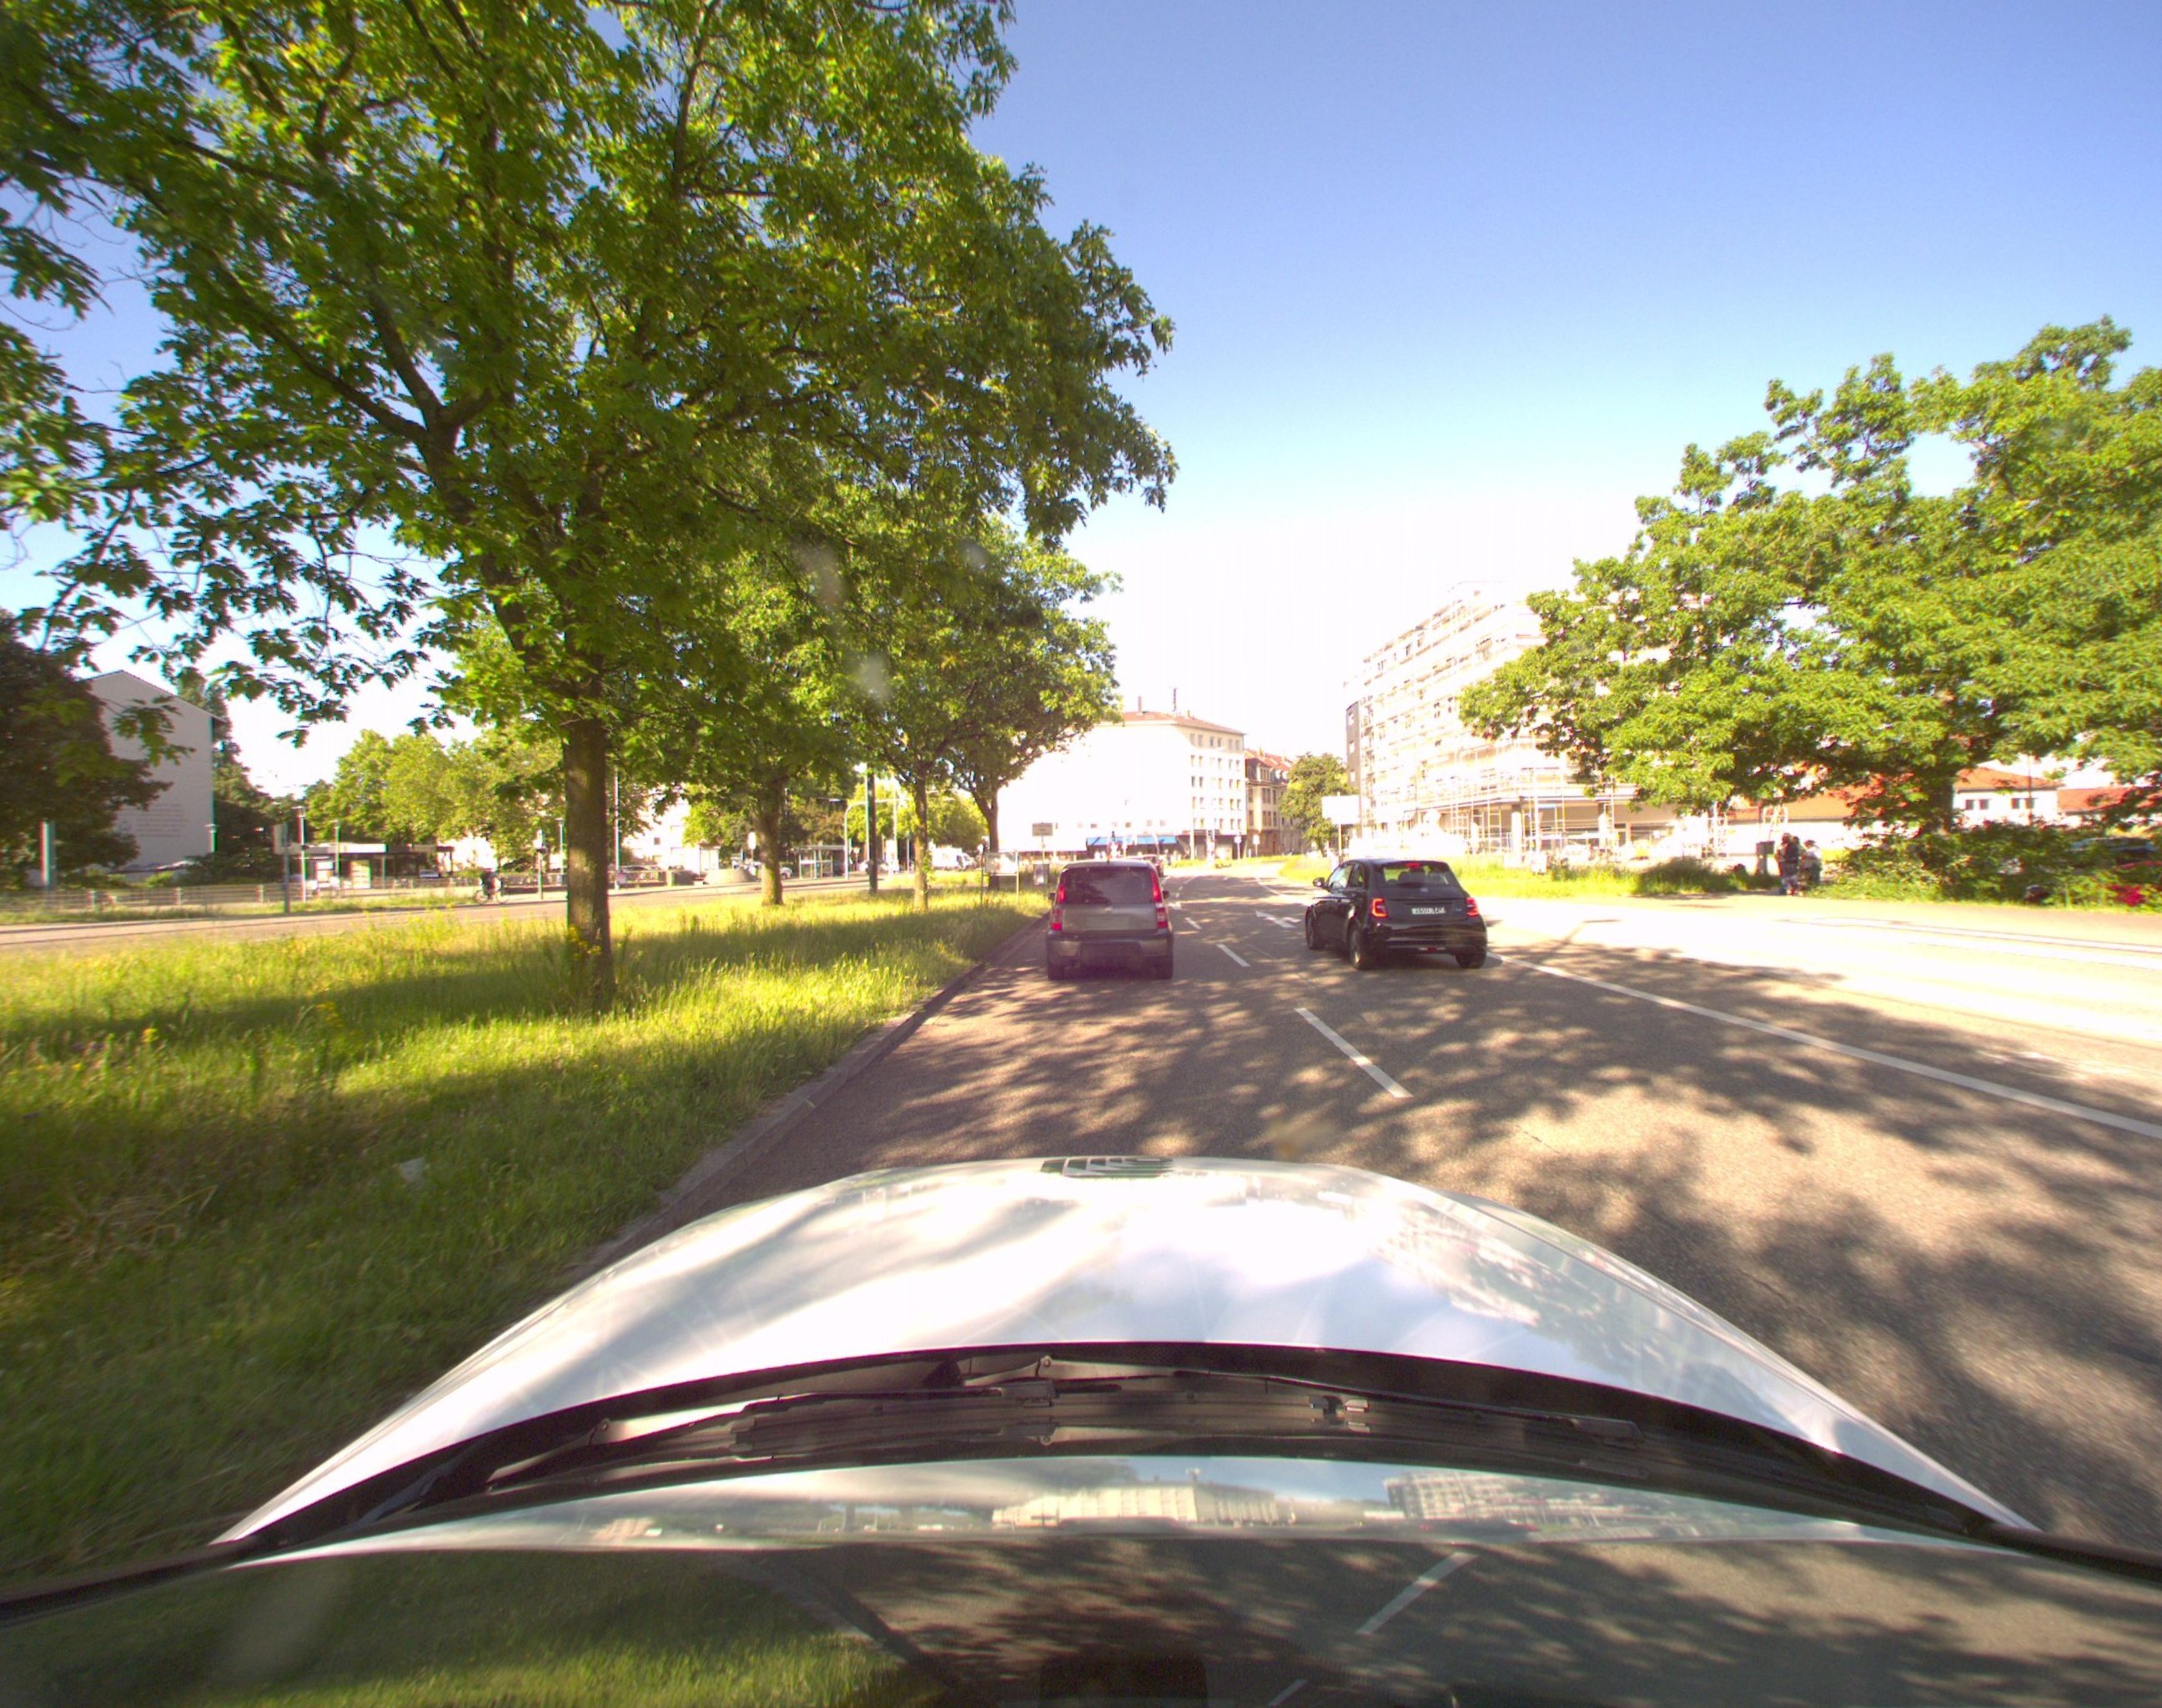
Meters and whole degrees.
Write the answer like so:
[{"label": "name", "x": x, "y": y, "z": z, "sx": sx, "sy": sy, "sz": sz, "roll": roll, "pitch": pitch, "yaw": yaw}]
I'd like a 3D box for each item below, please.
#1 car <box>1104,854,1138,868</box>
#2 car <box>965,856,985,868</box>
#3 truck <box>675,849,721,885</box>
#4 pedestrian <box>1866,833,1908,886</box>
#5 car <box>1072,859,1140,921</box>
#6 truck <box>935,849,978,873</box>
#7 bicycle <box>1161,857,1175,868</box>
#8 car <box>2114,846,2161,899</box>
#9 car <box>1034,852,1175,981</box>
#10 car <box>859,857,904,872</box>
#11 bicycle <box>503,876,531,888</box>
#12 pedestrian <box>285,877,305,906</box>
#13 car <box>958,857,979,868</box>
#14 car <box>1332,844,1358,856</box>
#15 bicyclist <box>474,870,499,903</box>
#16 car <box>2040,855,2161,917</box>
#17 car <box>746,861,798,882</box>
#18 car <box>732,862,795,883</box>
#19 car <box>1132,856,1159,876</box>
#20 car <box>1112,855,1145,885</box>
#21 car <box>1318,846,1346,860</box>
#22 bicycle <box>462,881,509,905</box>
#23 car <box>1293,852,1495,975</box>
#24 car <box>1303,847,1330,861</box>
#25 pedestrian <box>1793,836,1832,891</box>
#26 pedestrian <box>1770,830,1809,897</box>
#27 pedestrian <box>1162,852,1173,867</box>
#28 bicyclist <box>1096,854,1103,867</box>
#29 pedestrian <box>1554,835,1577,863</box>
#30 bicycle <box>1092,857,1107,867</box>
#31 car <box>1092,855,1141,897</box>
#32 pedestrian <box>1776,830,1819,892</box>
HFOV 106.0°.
[{"label": "car", "x": 3.826, "y": 0.654, "z": 78.143, "sx": 1.999, "sy": 1.243, "sz": 3.976, "roll": -1, "pitch": 0, "yaw": -18}, {"label": "car", "x": -14.722, "y": 1.099, "z": 113.157, "sx": 1.928, "sy": 1.512, "sz": 3.943, "roll": -1, "pitch": 0, "yaw": 3}, {"label": "truck", "x": -33.416, "y": 1.078, "z": 71.021, "sx": 4.768, "sy": 2.994, "sz": 2.012, "roll": -1, "pitch": 1, "yaw": 44}, {"label": "pedestrian", "x": 24.683, "y": 0.174, "z": 24.955, "sx": 0.701, "sy": 1.620, "sz": 0.566, "roll": 0, "pitch": -1, "yaw": -4}, {"label": "car", "x": 0.668, "y": 0.887, "z": 21.488, "sx": 1.615, "sy": 1.429, "sz": 3.690, "roll": -2, "pitch": 0, "yaw": 2}, {"label": "truck", "x": -13.041, "y": 0.733, "z": 85.255, "sx": 4.061, "sy": 2.427, "sz": 1.803, "roll": -1, "pitch": 0, "yaw": 21}, {"label": "bicycle", "x": 8.229, "y": 0.806, "z": 77.368, "sx": 0.783, "sy": 0.951, "sz": 1.849, "roll": 0, "pitch": -1, "yaw": -11}, {"label": "car", "x": 33.564, "y": 0.556, "z": 23.754, "sx": 1.984, "sy": 1.607, "sz": 4.006, "roll": 0, "pitch": -1, "yaw": 5}, {"label": "car", "x": 0.383, "y": 0.744, "z": 11.372, "sx": 1.653, "sy": 1.510, "sz": 3.254, "roll": -1, "pitch": 0, "yaw": 3}, {"label": "car", "x": -21.284, "y": 1.090, "z": 86.969, "sx": 4.375, "sy": 1.448, "sz": 1.667, "roll": -1, "pitch": 0, "yaw": -2}, {"label": "bicycle", "x": -43.161, "y": 2.156, "z": 62.295, "sx": 1.695, "sy": 0.839, "sz": 0.541, "roll": -1, "pitch": 0, "yaw": -41}, {"label": "pedestrian", "x": -50.146, "y": 2.398, "z": 51.962, "sx": 0.553, "sy": 1.829, "sz": 0.731, "roll": -1, "pitch": 0, "yaw": 23}, {"label": "car", "x": -14.480, "y": 1.123, "z": 105.192, "sx": 1.986, "sy": 1.310, "sz": 4.002, "roll": -2, "pitch": 0, "yaw": 2}, {"label": "car", "x": 37.854, "y": -0.520, "z": 116.798, "sx": 1.905, "sy": 1.594, "sz": 3.985, "roll": -2, "pitch": 0, "yaw": -11}, {"label": "bicyclist", "x": -28.073, "y": 1.539, "z": 38.464, "sx": 0.607, "sy": 1.530, "sz": 0.680, "roll": 0, "pitch": 1, "yaw": 22}, {"label": "car", "x": 21.766, "y": 0.625, "z": 15.944, "sx": 1.392, "sy": 1.154, "sz": 3.912, "roll": -1, "pitch": 0, "yaw": 1}, {"label": "car", "x": -27.035, "y": 1.487, "z": 71.294, "sx": 4.011, "sy": 1.717, "sz": 1.747, "roll": 0, "pitch": 2, "yaw": -30}, {"label": "car", "x": -26.619, "y": 1.510, "z": 68.353, "sx": 1.849, "sy": 1.544, "sz": 4.576, "roll": 2, "pitch": 2, "yaw": 45}, {"label": "car", "x": 4.303, "y": 0.807, "z": 54.077, "sx": 1.682, "sy": 1.253, "sz": 3.631, "roll": -1, "pitch": -1, "yaw": 5}, {"label": "car", "x": 2.531, "y": 0.816, "z": 42.913, "sx": 1.639, "sy": 1.438, "sz": 3.399, "roll": -1, "pitch": 0, "yaw": 3}, {"label": "car", "x": 27.884, "y": -0.122, "z": 90.509, "sx": 1.802, "sy": 1.508, "sz": 4.026, "roll": -2, "pitch": 0, "yaw": 35}, {"label": "bicycle", "x": -28.081, "y": 1.822, "z": 38.430, "sx": 0.607, "sy": 1.001, "sz": 1.667, "roll": 0, "pitch": 1, "yaw": 22}, {"label": "car", "x": 4.396, "y": 0.750, "z": 12.016, "sx": 1.668, "sy": 1.503, "sz": 3.563, "roll": -1, "pitch": 0, "yaw": 1}, {"label": "car", "x": 25.016, "y": -0.026, "z": 86.447, "sx": 1.757, "sy": 1.442, "sz": 3.642, "roll": -1, "pitch": 1, "yaw": 34}, {"label": "pedestrian", "x": 20.778, "y": 0.266, "z": 23.138, "sx": 0.525, "sy": 1.518, "sz": 0.614, "roll": -1, "pitch": 0, "yaw": 4}, {"label": "pedestrian", "x": 18.503, "y": 0.246, "z": 21.270, "sx": 0.600, "sy": 1.700, "sz": 0.410, "roll": -1, "pitch": 0, "yaw": 1}, {"label": "pedestrian", "x": 8.242, "y": 0.486, "z": 77.334, "sx": 0.774, "sy": 1.428, "sz": 0.935, "roll": 0, "pitch": -1, "yaw": -12}, {"label": "bicyclist", "x": 1.963, "y": 0.673, "z": 86.330, "sx": 0.590, "sy": 1.357, "sz": 0.535, "roll": -2, "pitch": 0, "yaw": 36}, {"label": "pedestrian", "x": 26.131, "y": -0.285, "z": 43.923, "sx": 0.649, "sy": 1.497, "sz": 0.907, "roll": -1, "pitch": 0, "yaw": -6}, {"label": "bicycle", "x": 1.989, "y": 0.847, "z": 86.313, "sx": 1.564, "sy": 1.090, "sz": 0.535, "roll": -2, "pitch": 0, "yaw": 36}, {"label": "car", "x": 1.349, "y": 0.809, "z": 32.006, "sx": 1.754, "sy": 1.486, "sz": 4.293, "roll": -1, "pitch": 0, "yaw": 1}, {"label": "pedestrian", "x": 19.096, "y": 0.188, "z": 21.714, "sx": 0.619, "sy": 1.634, "sz": 0.552, "roll": -1, "pitch": 0, "yaw": 2}]
